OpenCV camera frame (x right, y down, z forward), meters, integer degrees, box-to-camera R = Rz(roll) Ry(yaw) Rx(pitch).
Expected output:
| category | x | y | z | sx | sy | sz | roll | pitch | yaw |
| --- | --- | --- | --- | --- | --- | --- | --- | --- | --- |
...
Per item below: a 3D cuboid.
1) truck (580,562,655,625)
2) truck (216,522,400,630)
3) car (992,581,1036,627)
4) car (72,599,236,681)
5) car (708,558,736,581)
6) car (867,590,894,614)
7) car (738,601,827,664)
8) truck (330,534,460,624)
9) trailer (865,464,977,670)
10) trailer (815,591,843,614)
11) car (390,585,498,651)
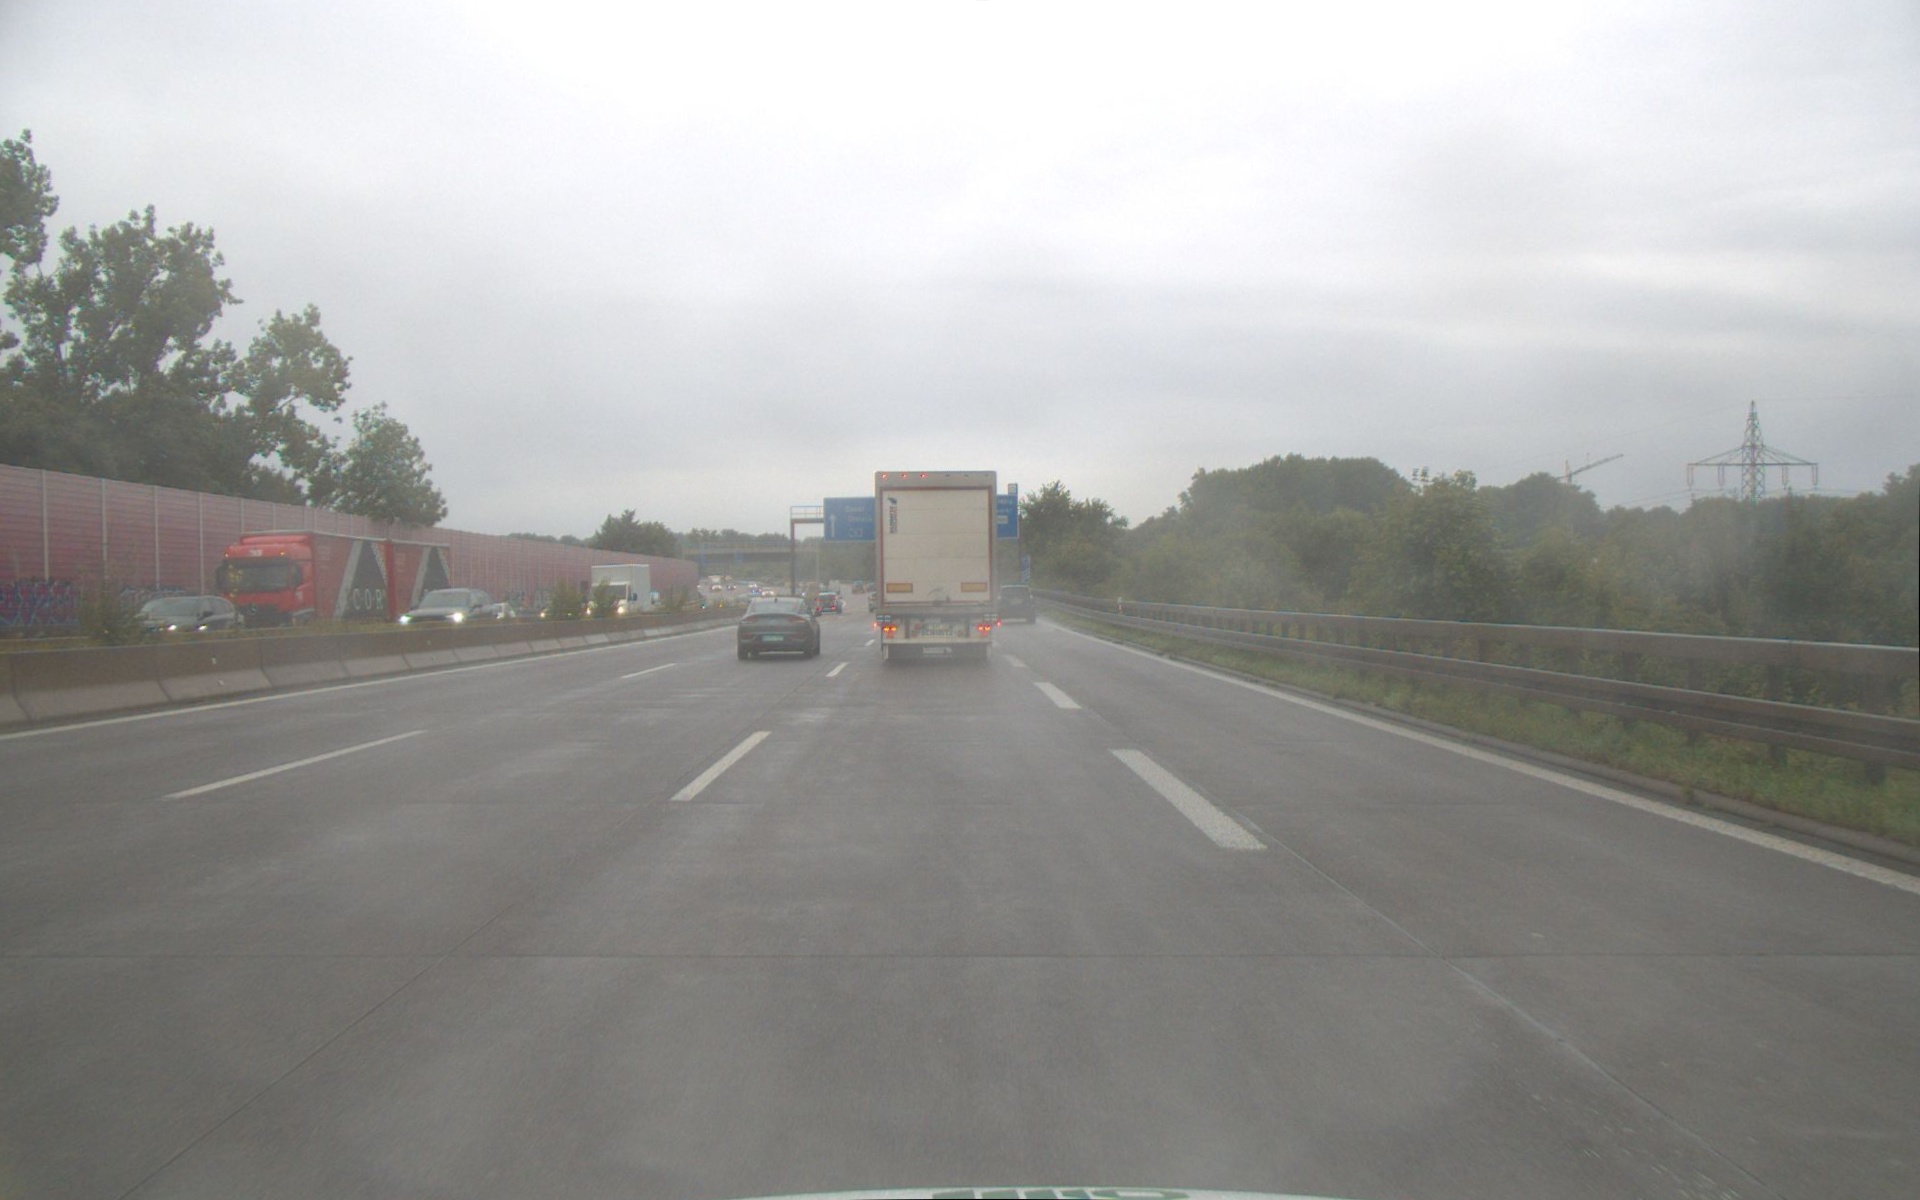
| category | x | y | z | sx | sy | sz | roll | pitch | yaw |
| --- | --- | --- | --- | --- | --- | --- | --- | --- | --- |
| truck | -16.491 | -0.304 | 79.999 | 2.220 | 2.878 | 7.278 | 1 | 0 | -1 |
| truck | -23.434 | -0.823 | 60.193 | 2.724 | 3.552 | 10.615 | 0 | 0 | -1 |
| car | 2.385 | 0.168 | 74.333 | 1.858 | 1.983 | 4.000 | 1 | 0 | 1 |
| car | -19.694 | 0.924 | 40.645 | 1.953 | 1.892 | 4.388 | 0 | 0 | -1 |
| car | -22.881 | -2.890 | 158.946 | 1.953 | 2.049 | 5.805 | 1 | 0 | -1 |
| car | -5.879 | 0.143 | 122.999 | 1.855 | 1.754 | 3.999 | 1 | 0 | -1 |
| car | -4.235 | 0.743 | 40.165 | 1.690 | 1.427 | 4.828 | 0 | 0 | -1 |
| truck | -23.667 | -0.861 | 69.787 | 2.724 | 3.552 | 8.492 | 0 | 0 | -1 |
| trailer | -0.878 | -0.705 | 41.461 | 2.295 | 4.230 | 14.824 | 0 | 0 | -1 |
| trailer | -9.654 | 0.147 | 122.149 | 1.778 | 1.653 | 4.567 | 0 | 0 | -1 |
| car | -15.447 | 0.515 | 49.749 | 1.953 | 1.892 | 4.388 | 0 | 0 | -1 |
